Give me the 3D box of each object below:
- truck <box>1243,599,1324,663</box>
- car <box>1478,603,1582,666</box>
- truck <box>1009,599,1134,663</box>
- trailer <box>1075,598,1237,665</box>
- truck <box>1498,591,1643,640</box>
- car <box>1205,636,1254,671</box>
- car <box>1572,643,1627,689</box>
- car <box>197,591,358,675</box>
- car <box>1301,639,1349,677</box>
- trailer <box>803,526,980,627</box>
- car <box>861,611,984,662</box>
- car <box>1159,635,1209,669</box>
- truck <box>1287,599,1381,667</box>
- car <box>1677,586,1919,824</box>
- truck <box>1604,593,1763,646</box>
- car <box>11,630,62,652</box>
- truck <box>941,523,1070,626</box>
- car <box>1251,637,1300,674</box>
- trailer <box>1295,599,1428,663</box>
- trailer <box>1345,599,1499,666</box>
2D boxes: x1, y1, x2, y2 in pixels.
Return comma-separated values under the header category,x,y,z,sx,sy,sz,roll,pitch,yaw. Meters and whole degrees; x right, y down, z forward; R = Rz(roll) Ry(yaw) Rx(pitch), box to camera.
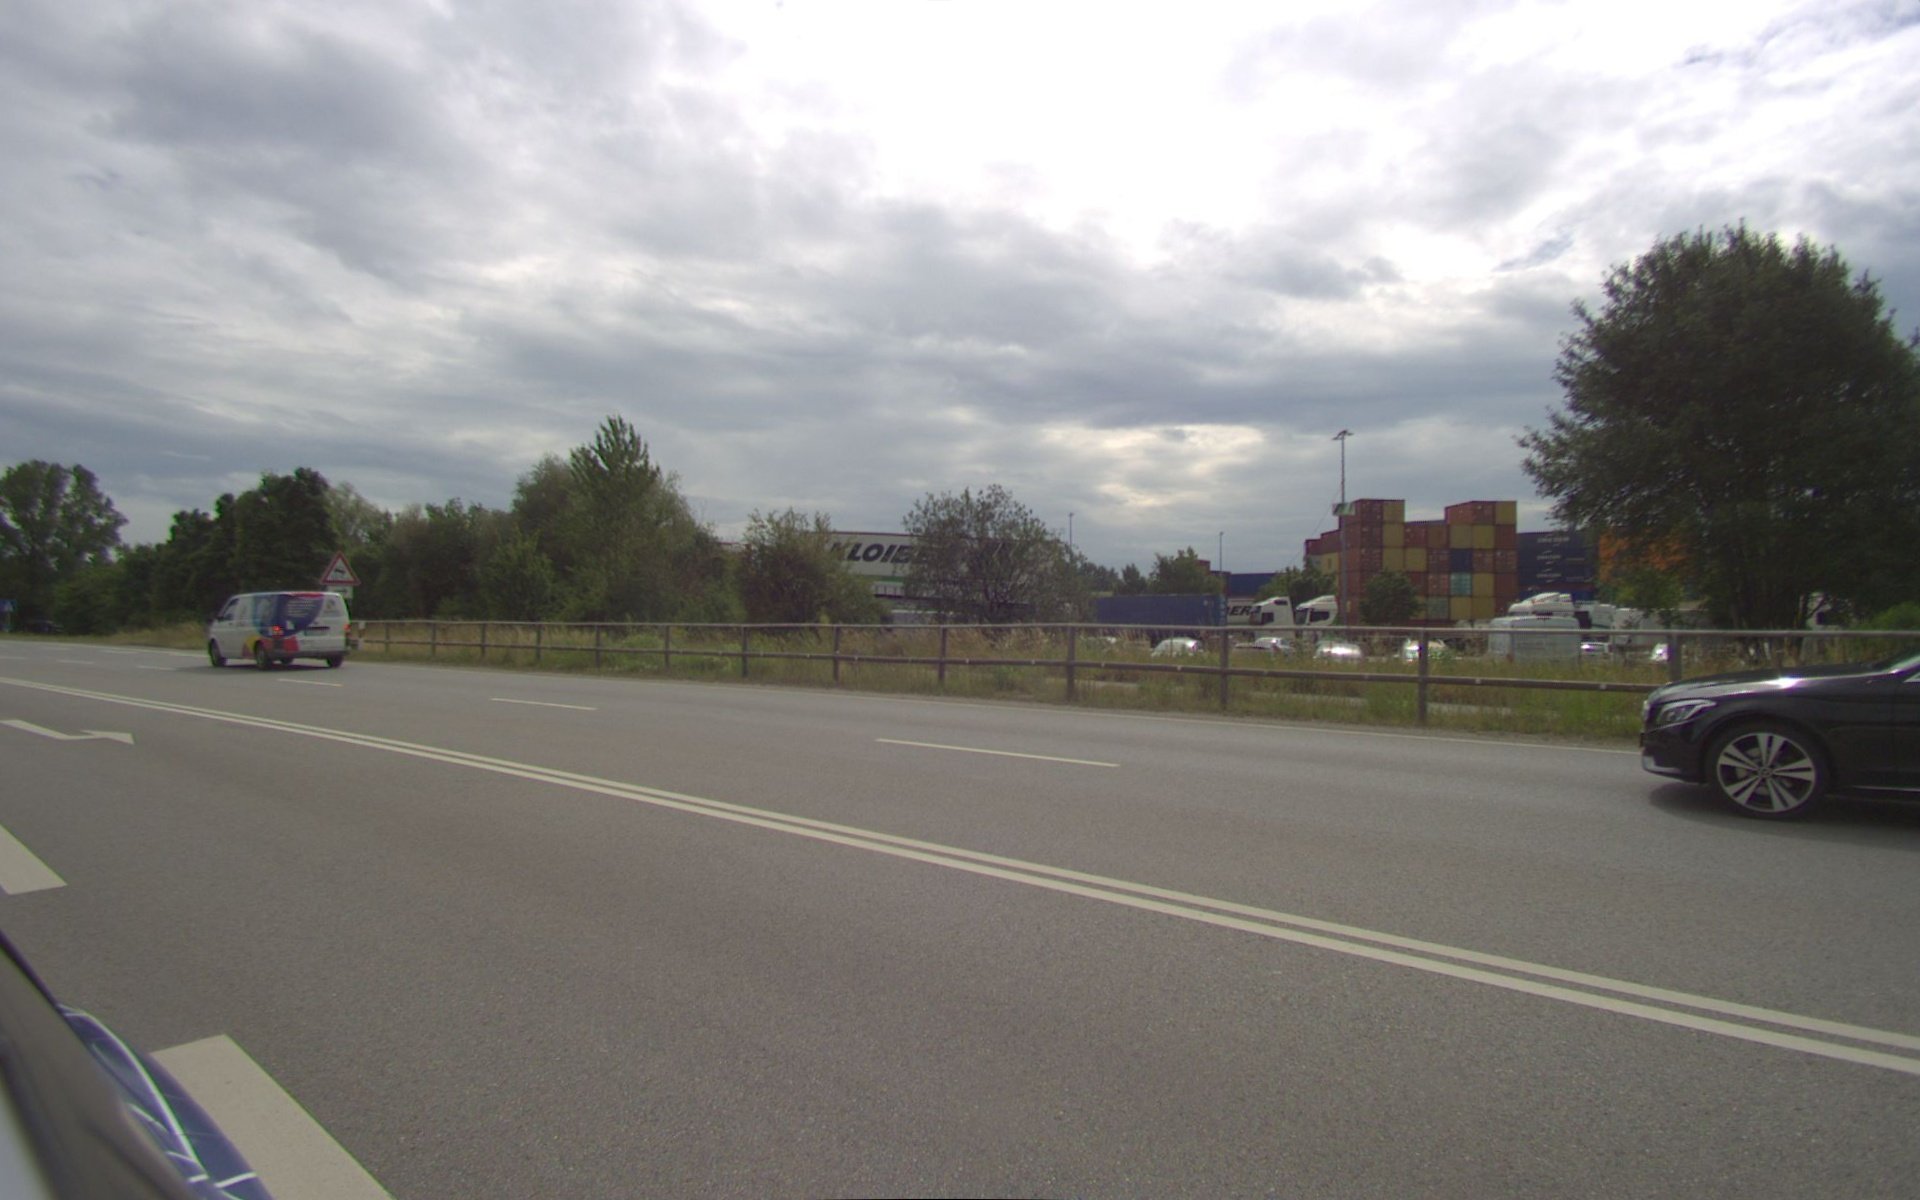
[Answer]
category,x,y,z,sx,sy,sz,roll,pitch,yaw
truck,22.535,2.151,70.582,4.783,4.325,2.200,-1,-1,-2
car,17.533,1.000,31.359,1.984,1.747,4.556,-1,0,19
truck,7.898,2.195,72.139,8.279,4.325,3.212,-1,-1,28
trailer,13.323,2.154,69.237,10.355,4.325,3.212,-1,-1,28
truck,34.883,0.901,57.986,6.567,2.703,2.651,-1,-1,3
car,14.651,2.877,54.904,1.835,1.732,3.964,-1,-1,26
car,27.047,2.744,42.805,1.839,1.732,3.955,-1,-1,33
car,-17.980,0.834,26.591,4.656,2.029,1.976,-1,-1,35
car,18.481,2.881,51.152,1.835,1.732,3.964,-1,-1,26
trailer,-3.580,-1.151,53.327,8.897,5.034,2.795,-1,0,14
car,-1.512,1.407,40.529,4.467,1.890,2.006,-1,-1,-26
car,12.626,2.875,56.892,1.835,1.732,3.964,-1,-1,26
truck,24.679,2.158,66.924,5.350,4.325,2.200,-1,-1,-2
car,7.172,0.629,6.218,4.351,1.452,1.789,-1,-1,41
truck,38.809,1.054,54.448,6.563,2.703,2.652,-1,-1,1
car,-80.236,3.546,88.000,1.965,1.811,4.334,0,-1,-23
truck,2.364,-1.250,51.817,6.130,5.034,2.792,-1,0,14
car,16.566,2.878,53.081,1.835,1.732,3.964,-1,-1,26
trailer,28.054,2.124,70.811,8.375,4.325,2.200,-1,-1,-2
trailer,30.582,2.129,67.153,9.241,4.325,2.200,-1,-1,-2
